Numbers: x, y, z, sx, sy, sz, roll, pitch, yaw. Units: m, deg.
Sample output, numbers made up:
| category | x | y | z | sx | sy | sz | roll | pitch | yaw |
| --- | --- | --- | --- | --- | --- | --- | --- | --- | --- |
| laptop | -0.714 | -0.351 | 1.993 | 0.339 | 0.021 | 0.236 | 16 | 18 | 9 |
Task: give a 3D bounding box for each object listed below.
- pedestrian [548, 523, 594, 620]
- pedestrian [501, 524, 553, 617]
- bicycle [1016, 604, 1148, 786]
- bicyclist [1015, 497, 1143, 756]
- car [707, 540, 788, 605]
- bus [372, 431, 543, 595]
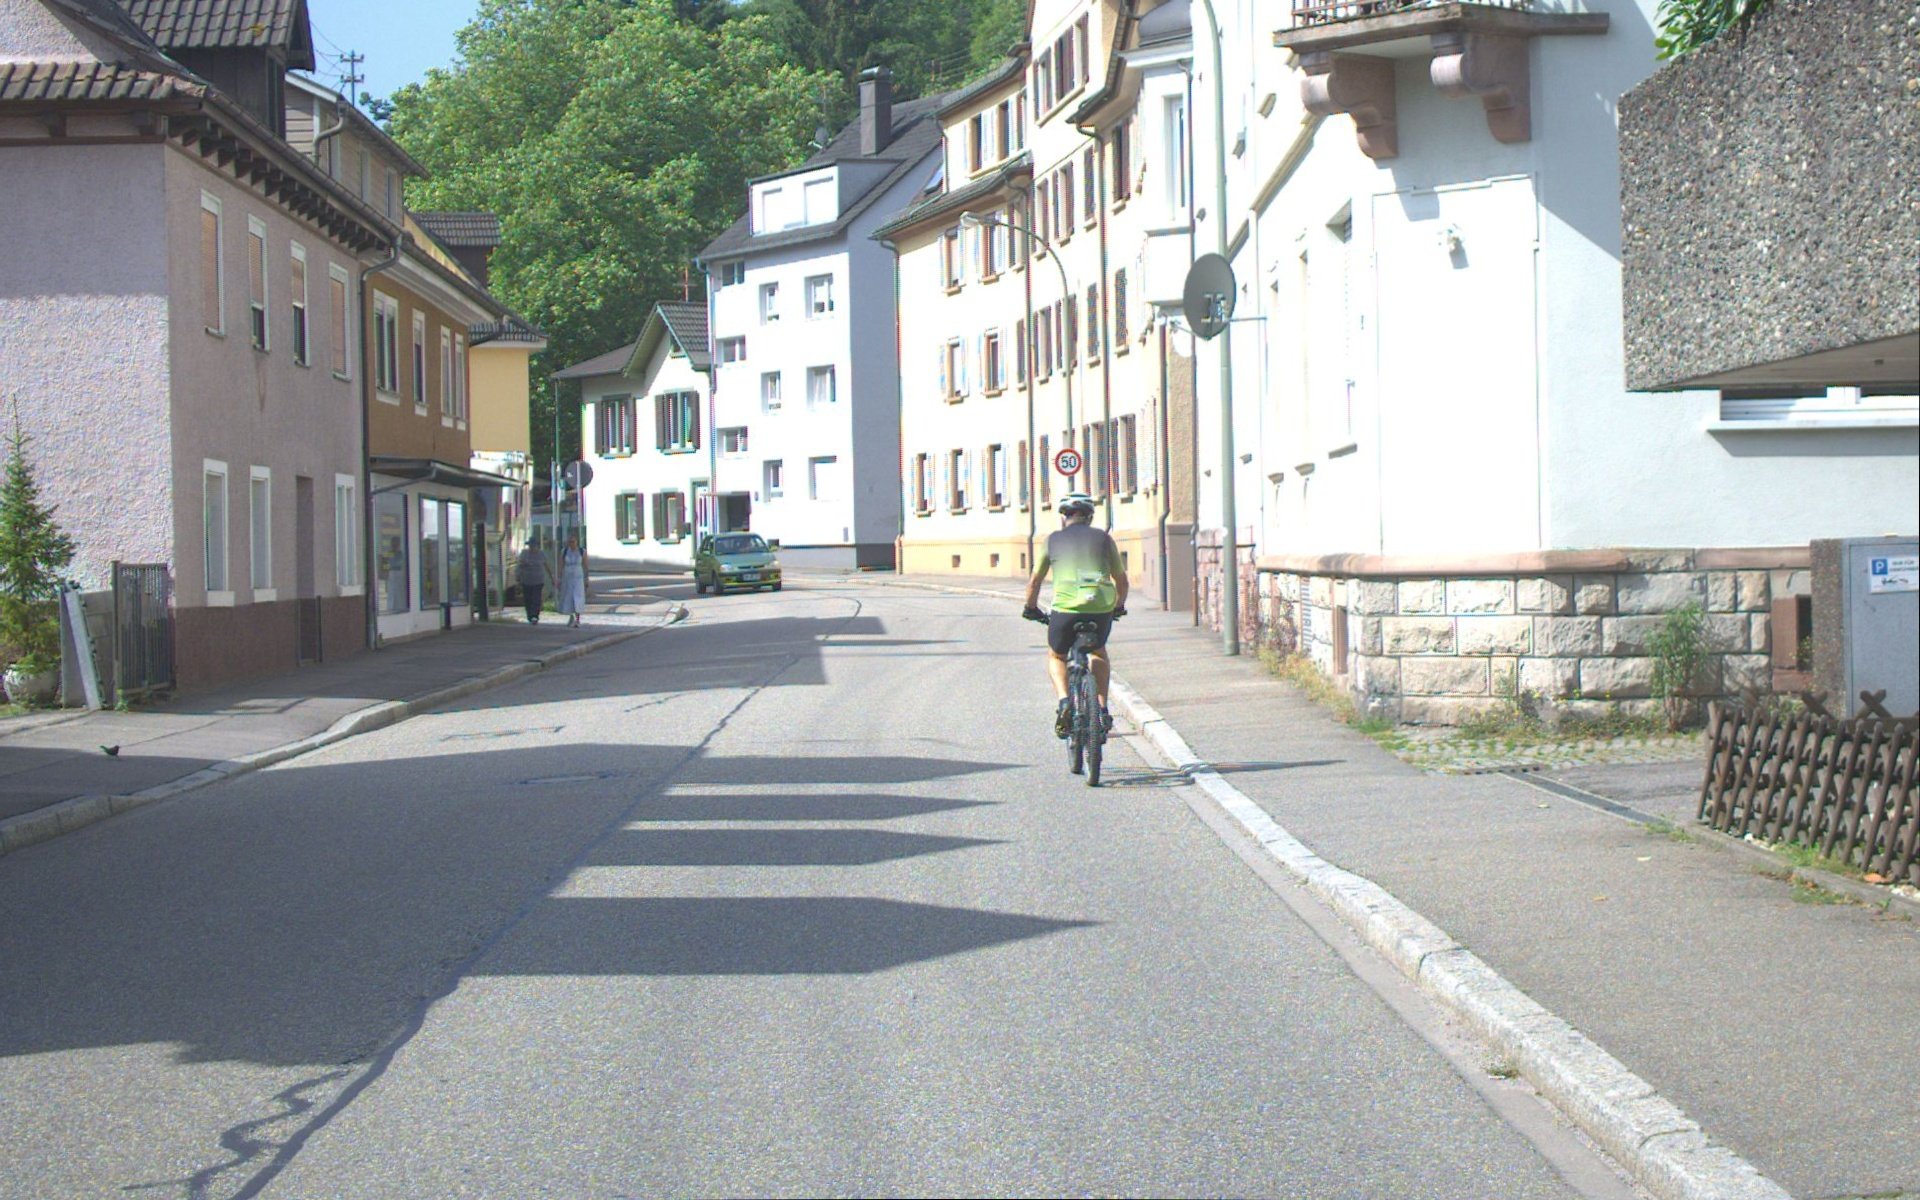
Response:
| category | x | y | z | sx | sy | sz | roll | pitch | yaw |
| --- | --- | --- | --- | --- | --- | --- | --- | --- | --- |
| pedestrian | -6.666 | -0.493 | 58.968 | 0.639 | 1.621 | 0.777 | 2 | 1 | 0 |
| pedestrian | -7.448 | -0.511 | 59.159 | 0.735 | 1.559 | 0.824 | 2 | 1 | 0 |
| bicycle | 0.733 | 0.562 | 21.056 | 0.698 | 1.032 | 1.471 | 0 | 1 | -2 |
| bicyclist | 0.716 | 0.152 | 20.920 | 0.685 | 1.526 | 0.716 | -2 | 1 | -2 |
| car | -5.200 | -0.680 | 83.800 | 1.596 | 1.459 | 3.660 | -4 | 1 | -8 |
| bus | -10.527 | -1.823 | 72.778 | 2.820 | 3.217 | 9.037 | 1 | 1 | -4 |
